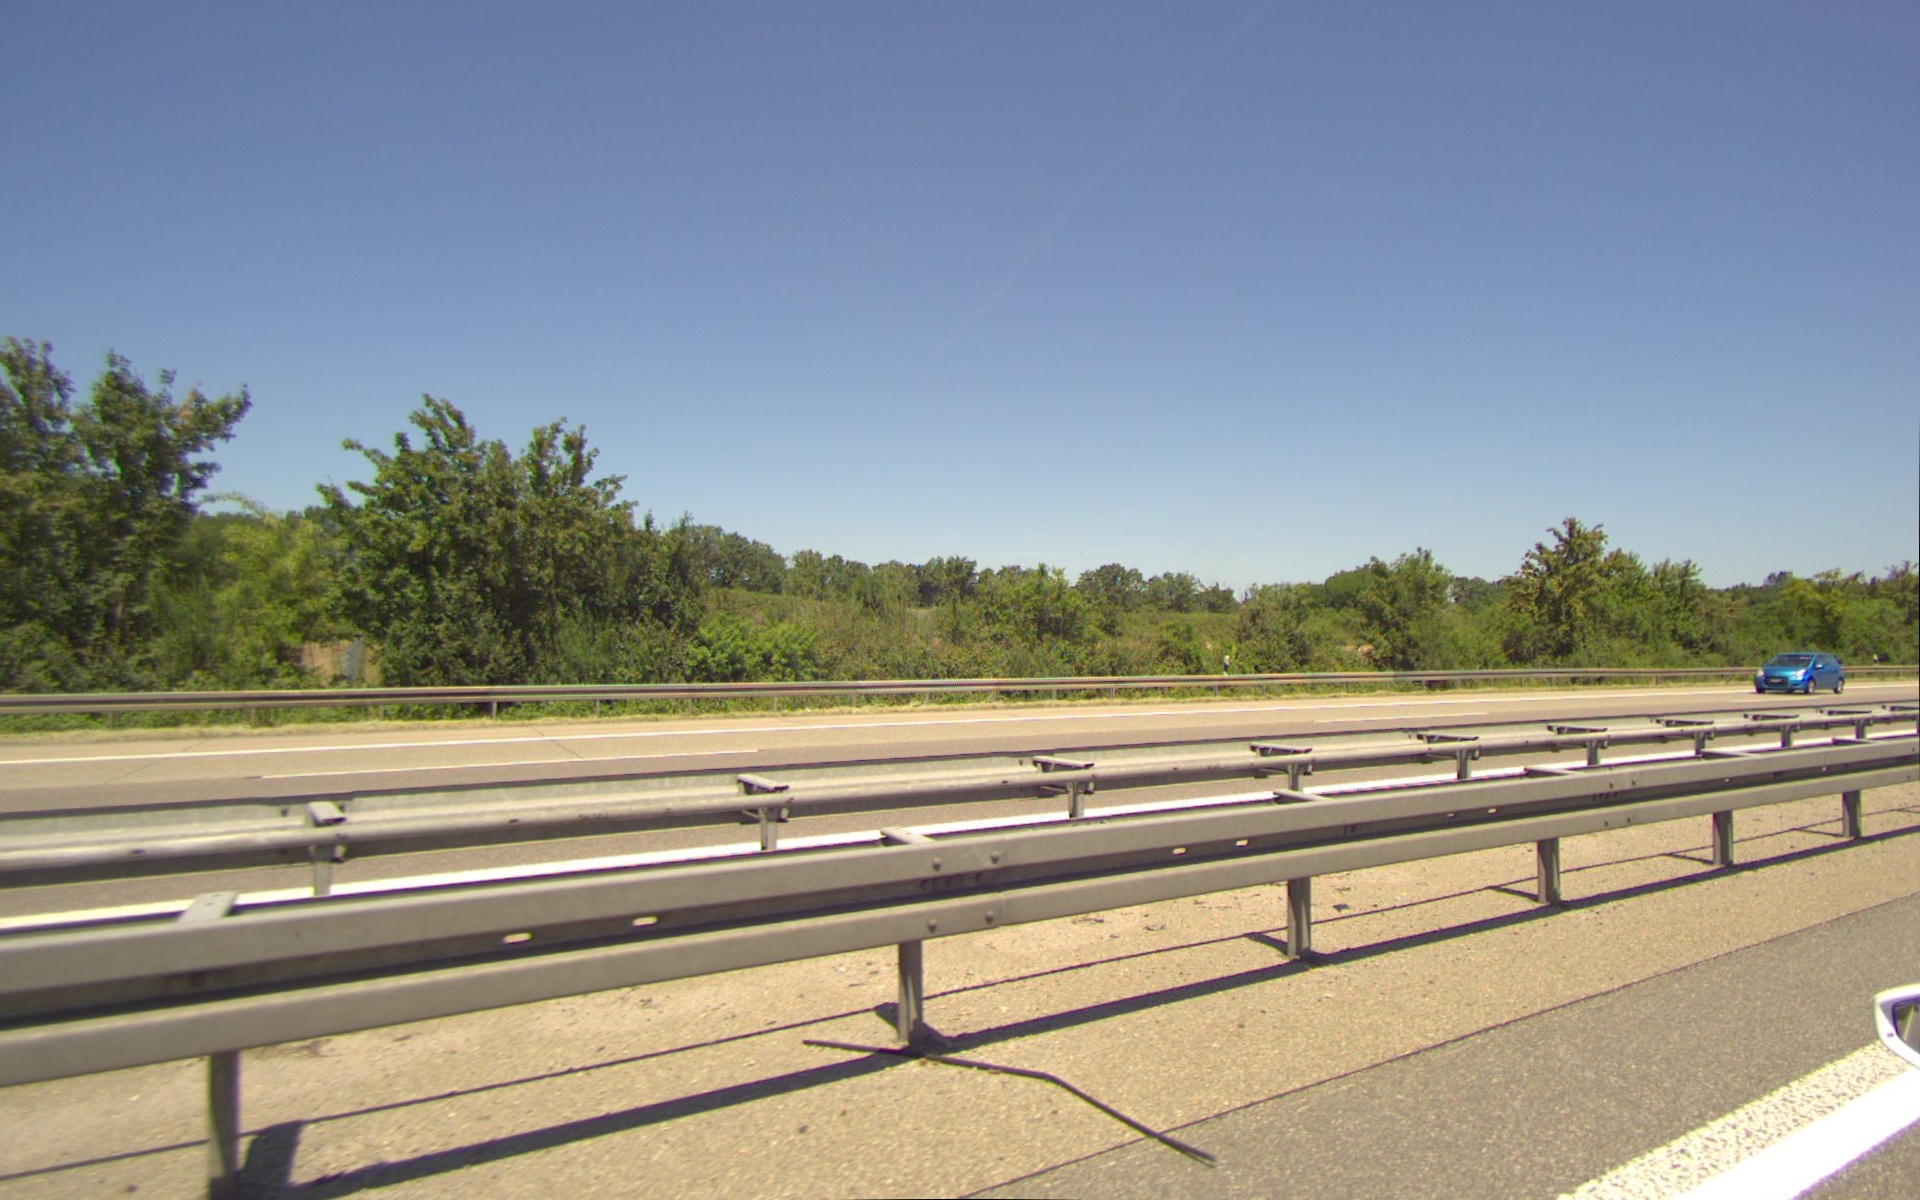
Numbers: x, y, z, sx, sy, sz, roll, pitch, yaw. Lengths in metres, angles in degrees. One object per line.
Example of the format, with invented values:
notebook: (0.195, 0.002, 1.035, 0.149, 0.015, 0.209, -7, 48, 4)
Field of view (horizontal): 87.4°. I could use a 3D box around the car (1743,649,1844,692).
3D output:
car: (29.658, 2.513, 35.727, 3.428, 1.442, 1.558, 2, -4, -28)
